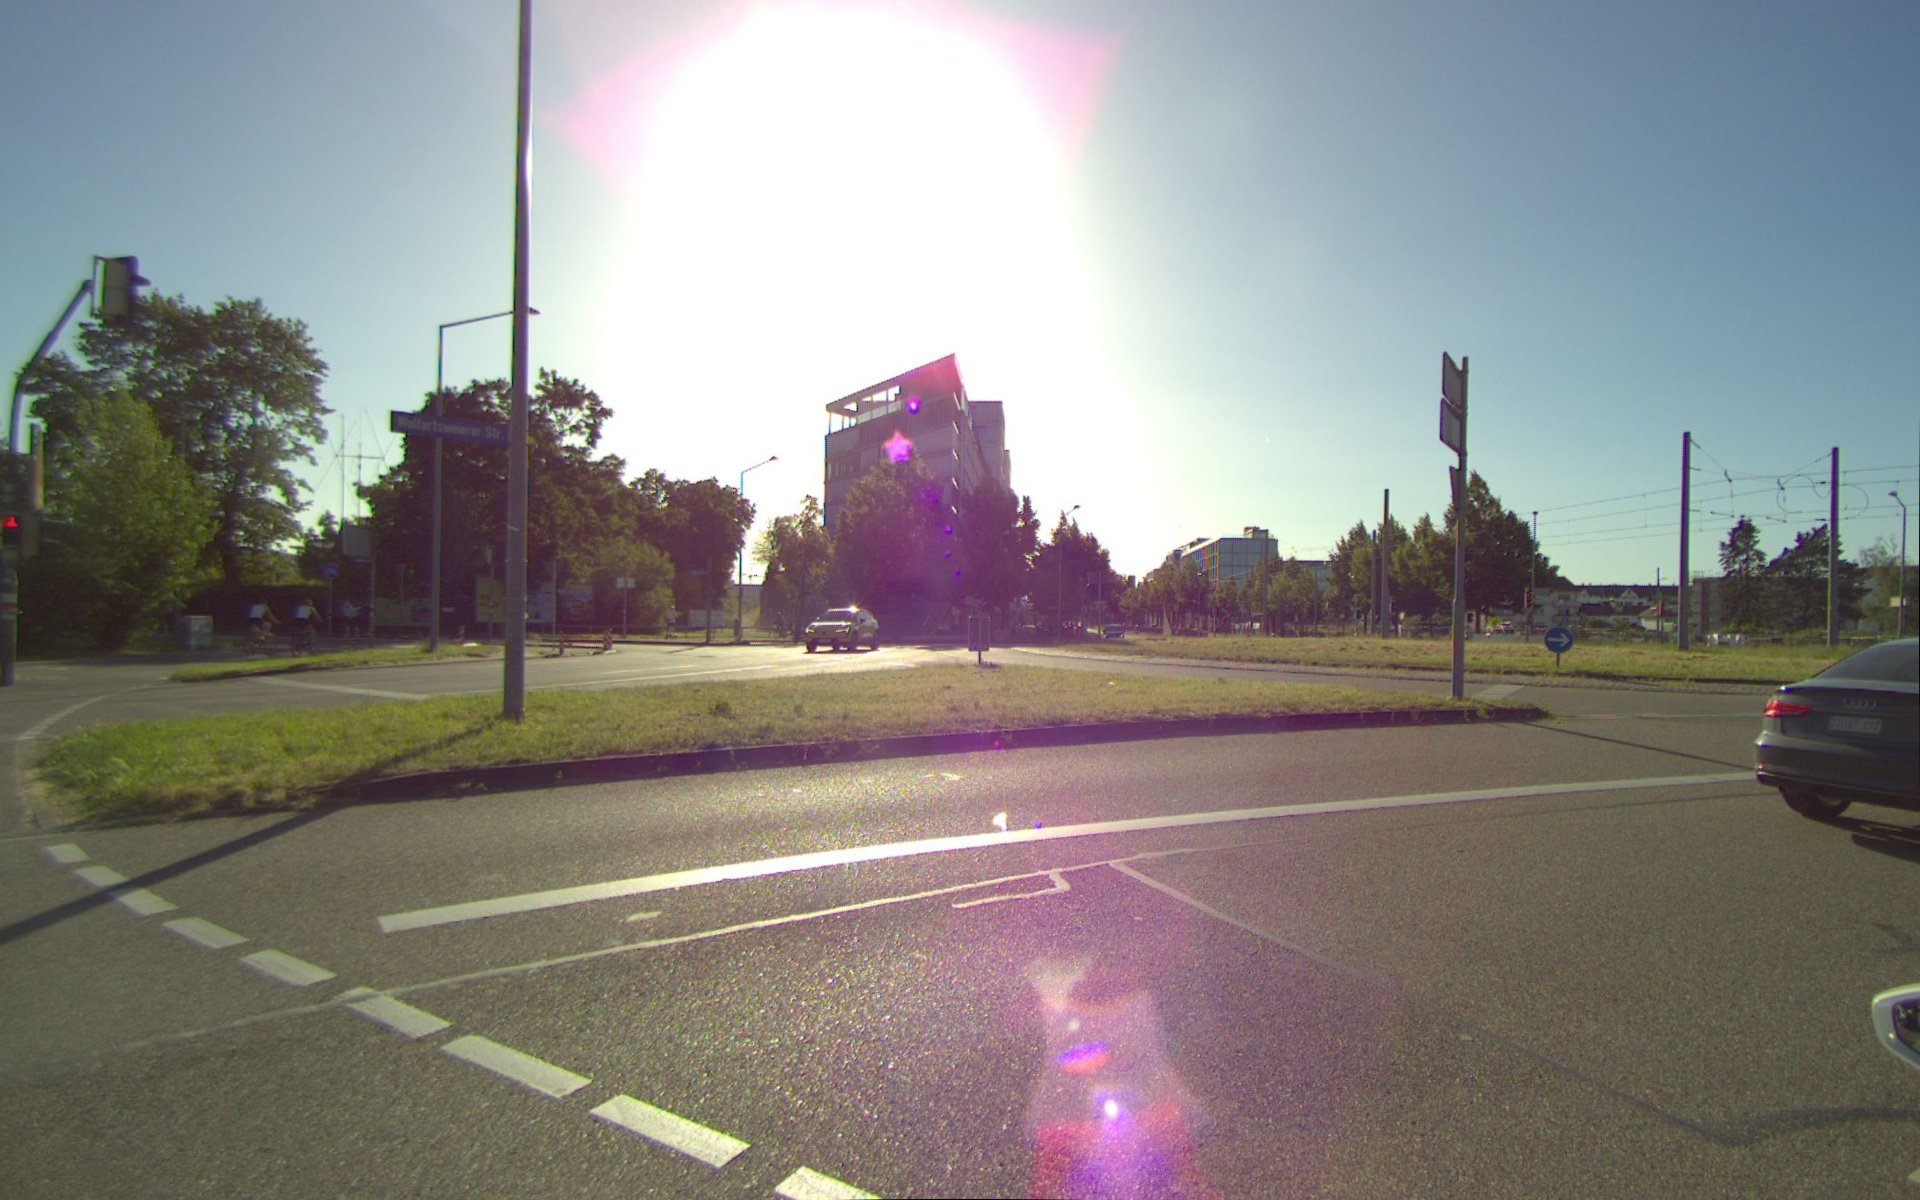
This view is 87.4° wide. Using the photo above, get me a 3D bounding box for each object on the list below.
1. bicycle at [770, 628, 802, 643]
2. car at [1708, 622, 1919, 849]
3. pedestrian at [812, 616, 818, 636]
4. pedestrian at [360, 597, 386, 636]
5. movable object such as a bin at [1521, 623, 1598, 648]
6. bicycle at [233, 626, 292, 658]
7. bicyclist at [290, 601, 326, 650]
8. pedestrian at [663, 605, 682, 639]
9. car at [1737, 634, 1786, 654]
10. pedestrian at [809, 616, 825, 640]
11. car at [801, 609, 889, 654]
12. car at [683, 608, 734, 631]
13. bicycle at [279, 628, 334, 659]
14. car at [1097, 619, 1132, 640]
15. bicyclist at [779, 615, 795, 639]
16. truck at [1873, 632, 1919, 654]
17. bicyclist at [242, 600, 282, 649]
[{"bbox_3d":[-11.953,2.409,69.048,0.652,1.001,2.253,0,-1,38],"label":"bicycle"},{"bbox_3d":[7.936,0.934,7.352,4.289,1.398,1.759,2,-1,-17],"label":"car"},{"bbox_3d":[-12.962,2.319,89.968,0.495,1.711,0.554,1,-1,-5],"label":"pedestrian"},{"bbox_3d":[-31.617,0.884,54.140,0.802,2.040,0.901,2,-1,-1],"label":"pedestrian"},{"bbox_3d":[75.093,4.429,125.980,7.771,2.819,2.945,1,-1,7],"label":"movable object such as a bin"},{"bbox_3d":[-20.246,1.215,29.199,0.606,0.864,1.887,1,-1,-8],"label":"bicycle"},{"bbox_3d":[-19.397,0.757,29.898,0.606,1.411,0.718,1,-1,-8],"label":"bicyclist"},{"bbox_3d":[-17.360,1.313,60.657,0.577,2.032,0.943,1,-1,25],"label":"pedestrian"},{"bbox_3d":[92.663,5.022,116.195,1.961,2.040,4.499,3,-1,1],"label":"car"},{"bbox_3d":[-9.991,1.943,70.190,0.871,1.651,0.759,0,-1,35],"label":"pedestrian"},{"bbox_3d":[-4.258,1.170,37.782,1.968,1.561,4.328,1,-1,12],"label":"car"},{"bbox_3d":[-21.153,1.637,84.466,3.715,1.829,1.817,2,-1,-41],"label":"car"},{"bbox_3d":[-19.416,1.270,29.899,0.606,0.864,1.887,1,-1,-8],"label":"bicycle"},{"bbox_3d":[13.681,2.590,89.199,2.413,1.808,5.015,1,-1,2],"label":"car"},{"bbox_3d":[-11.916,1.837,69.069,0.652,1.601,0.831,1,-1,38],"label":"bicyclist"},{"bbox_3d":[94.616,4.313,100.000,2.127,2.040,6.440,3,-1,7],"label":"truck"},{"bbox_3d":[-20.226,0.706,29.104,0.606,1.411,0.836,1,-1,-8],"label":"bicyclist"}]
